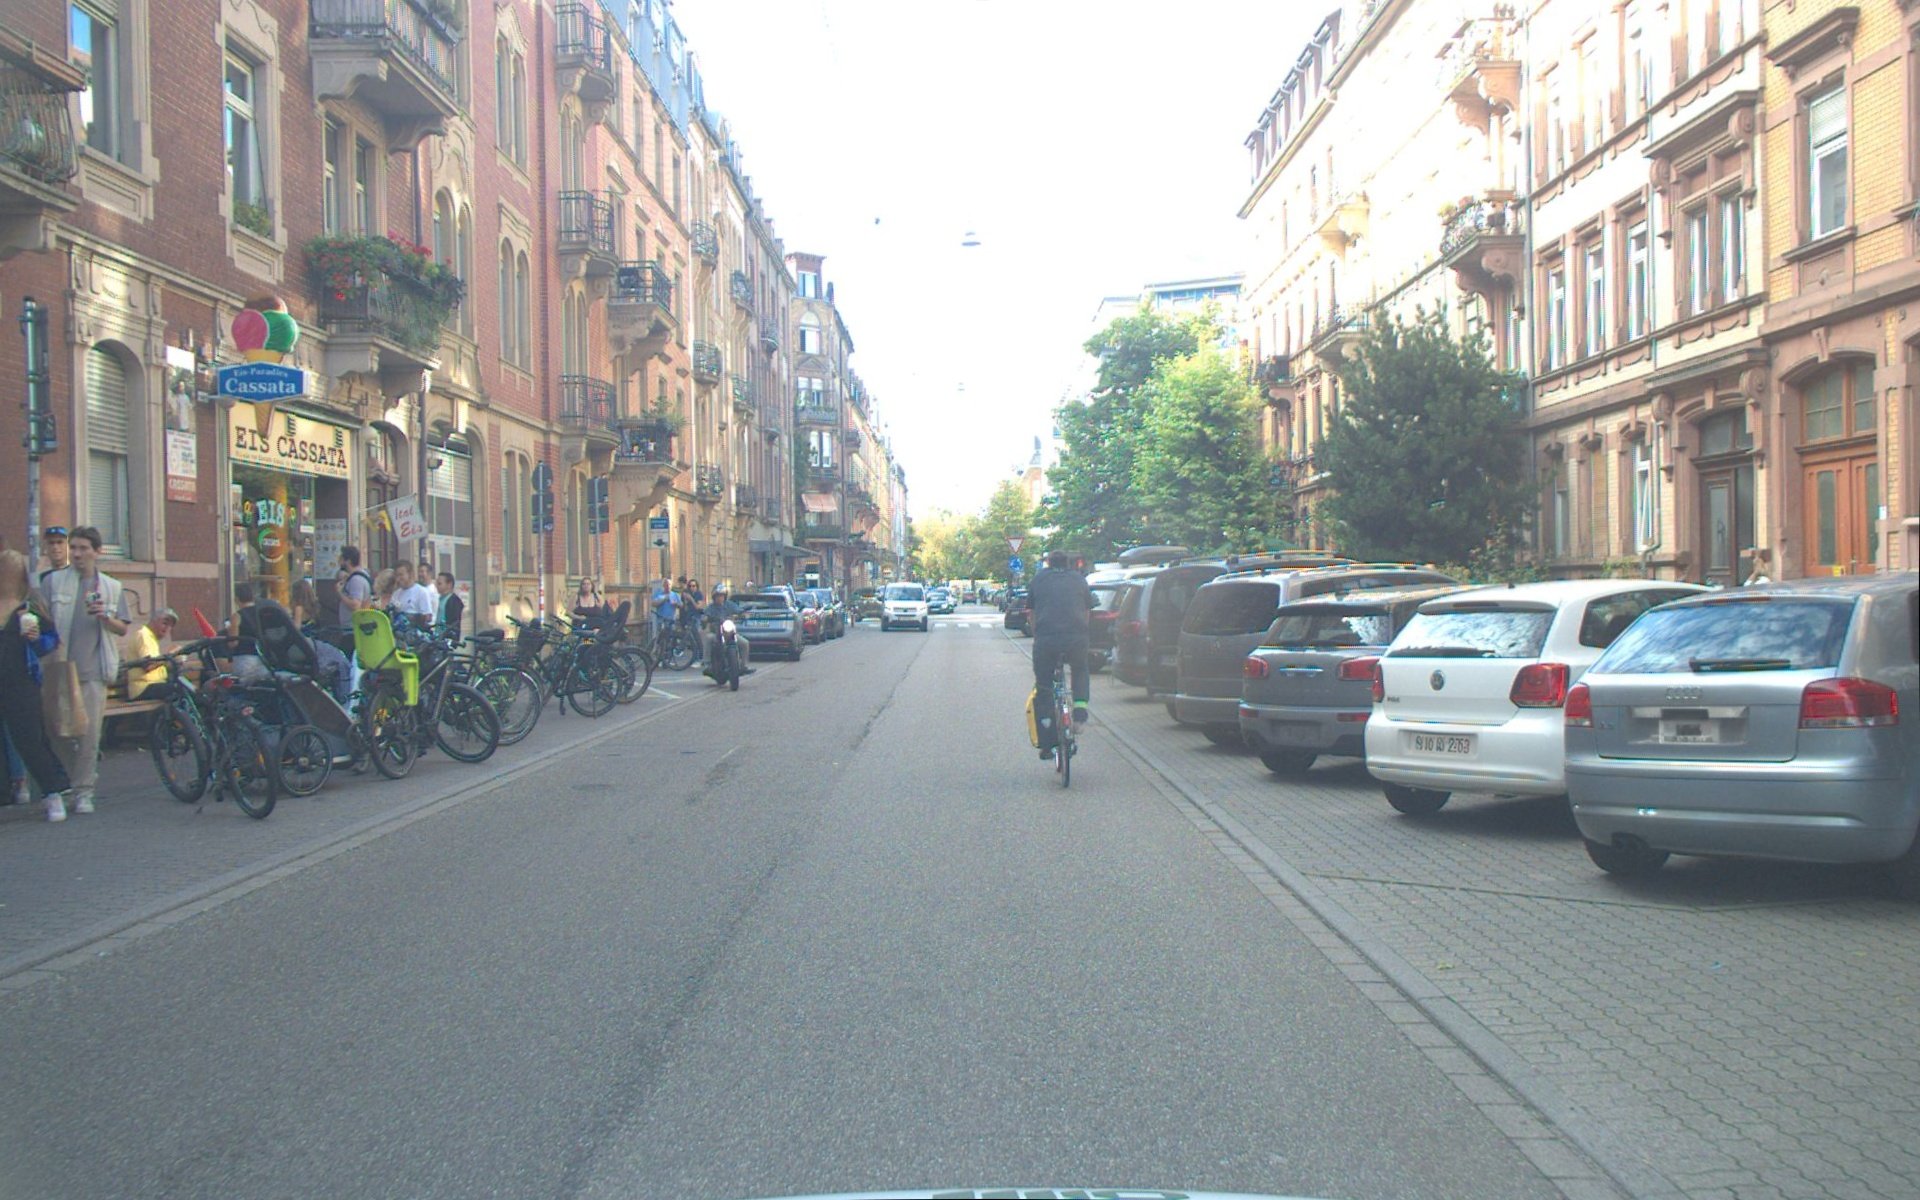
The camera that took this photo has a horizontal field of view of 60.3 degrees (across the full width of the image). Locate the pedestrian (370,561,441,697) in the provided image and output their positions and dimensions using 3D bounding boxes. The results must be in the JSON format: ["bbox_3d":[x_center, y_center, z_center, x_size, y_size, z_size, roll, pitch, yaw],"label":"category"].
[{"bbox_3d":[-7.189,0.370,21.465,0.650,1.725,0.763,0,0,0],"label":"pedestrian"}]

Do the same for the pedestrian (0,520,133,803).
[{"bbox_3d":[-6.298,0.414,11.637,0.634,1.925,0.600,0,0,30],"label":"pedestrian"}]

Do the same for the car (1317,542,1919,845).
[{"bbox_3d":[4.420,0.505,10.853,3.951,1.475,1.717,-4,0,-33],"label":"car"}]

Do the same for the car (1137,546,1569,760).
[{"bbox_3d":[3.868,0.433,16.151,3.948,1.771,1.820,-3,1,-31],"label":"car"}]

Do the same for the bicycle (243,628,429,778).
[{"bbox_3d":[-5.113,0.811,13.664,0.566,1.109,1.739,0,0,13],"label":"bicycle"}]

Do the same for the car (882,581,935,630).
[{"bbox_3d":[-1.980,0.194,64.719,1.878,1.860,4.438,0,0,0],"label":"car"}]

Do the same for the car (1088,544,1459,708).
[{"bbox_3d":[4.125,0.302,22.243,4.543,1.815,1.810,-4,2,-1],"label":"car"}]

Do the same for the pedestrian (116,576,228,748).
[{"bbox_3d":[-7.074,0.540,14.867,0.591,1.495,0.726,0,0,10],"label":"pedestrian"}]

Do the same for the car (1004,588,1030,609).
[{"bbox_3d":[3.860,-0.104,112.618,1.611,1.347,3.577,-4,0,1],"label":"car"}]

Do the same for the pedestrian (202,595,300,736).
[{"bbox_3d":[-6.872,0.624,16.058,0.708,1.336,0.606,0,0,-4],"label":"pedestrian"}]

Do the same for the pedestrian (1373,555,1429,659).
[{"bbox_3d":[7.448,0.120,27.927,0.643,1.724,0.688,0,0,-43],"label":"pedestrian"}]

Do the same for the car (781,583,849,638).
[{"bbox_3d":[-4.676,0.331,53.894,1.754,1.657,4.847,-1,0,0],"label":"car"}]

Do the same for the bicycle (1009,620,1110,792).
[{"bbox_3d":[0.755,0.783,13.197,0.652,1.198,2.497,0,0,0],"label":"bicycle"}]

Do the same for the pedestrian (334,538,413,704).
[{"bbox_3d":[-6.840,0.238,19.293,0.753,1.886,0.659,0,0,-31],"label":"pedestrian"}]

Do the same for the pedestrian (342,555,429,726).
[{"bbox_3d":[-6.130,0.416,17.666,0.591,1.782,0.726,0,0,10],"label":"pedestrian"}]

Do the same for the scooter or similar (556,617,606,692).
[{"bbox_3d":[-5.635,0.806,24.625,0.593,1.073,0.921,1,0,-5],"label":"scooter or similar"}]

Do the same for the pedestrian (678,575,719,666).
[{"bbox_3d":[-5.069,0.385,32.078,0.559,1.739,0.659,0,0,-35],"label":"pedestrian"}]

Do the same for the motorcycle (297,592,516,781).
[{"bbox_3d":[-4.442,0.644,13.448,0.692,1.408,2.025,0,0,14],"label":"motorcycle"}]

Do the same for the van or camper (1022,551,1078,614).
[{"bbox_3d":[4.621,-0.893,85.707,2.480,3.090,4.457,-1,0,-2],"label":"van or camper"}]

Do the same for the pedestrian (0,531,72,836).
[{"bbox_3d":[-5.915,0.487,10.002,0.747,1.790,0.664,0,0,30],"label":"pedestrian"}]

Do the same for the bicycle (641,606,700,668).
[{"bbox_3d":[-5.415,0.674,30.997,0.482,1.114,1.906,1,0,9],"label":"bicycle"}]

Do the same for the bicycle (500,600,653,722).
[{"bbox_3d":[-4.408,0.677,19.078,1.658,1.345,0.521,0,0,-36],"label":"bicycle"}]

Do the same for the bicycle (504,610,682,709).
[{"bbox_3d":[-4.676,0.728,21.233,0.793,1.179,2.260,0,0,37],"label":"bicycle"}]

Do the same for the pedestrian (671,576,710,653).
[{"bbox_3d":[-6.504,0.339,39.908,0.740,1.839,0.863,0,0,3],"label":"pedestrian"}]

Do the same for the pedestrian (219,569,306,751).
[{"bbox_3d":[-6.429,0.537,15.259,0.542,1.644,0.584,0,0,0],"label":"pedestrian"}]

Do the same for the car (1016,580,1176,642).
[{"bbox_3d":[3.968,0.286,47.919,4.418,1.489,1.857,-4,2,-35],"label":"car"}]

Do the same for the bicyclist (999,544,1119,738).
[{"bbox_3d":[0.778,0.316,13.242,0.914,1.510,0.747,0,0,0],"label":"bicyclist"}]

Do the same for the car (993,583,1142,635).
[{"bbox_3d":[3.674,0.271,56.340,4.700,1.482,2.038,-4,2,-28],"label":"car"}]

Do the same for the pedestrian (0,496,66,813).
[{"bbox_3d":[-6.406,0.350,10.939,0.630,2.049,0.629,0,0,28],"label":"pedestrian"}]

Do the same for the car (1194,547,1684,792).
[{"bbox_3d":[3.989,0.467,13.533,3.959,1.575,1.844,-4,1,-38],"label":"car"}]

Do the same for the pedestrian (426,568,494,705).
[{"bbox_3d":[-6.411,0.459,21.211,0.635,1.725,0.563,0,0,38],"label":"pedestrian"}]

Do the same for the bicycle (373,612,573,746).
[{"bbox_3d":[-4.683,0.732,15.963,1.771,1.221,0.583,0,0,-37],"label":"bicycle"}]

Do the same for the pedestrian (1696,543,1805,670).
[{"bbox_3d":[9.925,0.077,20.776,0.910,1.523,0.811,-2,0,-7],"label":"pedestrian"}]

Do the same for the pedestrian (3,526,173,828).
[{"bbox_3d":[-5.589,0.467,10.615,0.747,1.850,0.664,0,0,30],"label":"pedestrian"}]

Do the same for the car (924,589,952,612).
[{"bbox_3d":[-1.376,0.048,103.604,1.714,1.461,4.210,0,0,-2],"label":"car"}]

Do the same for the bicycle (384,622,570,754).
[{"bbox_3d":[-4.470,0.789,15.349,1.553,1.140,0.583,0,0,-37],"label":"bicycle"}]

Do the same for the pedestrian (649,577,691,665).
[{"bbox_3d":[-5.648,0.400,32.206,0.672,1.690,0.546,0,0,-30],"label":"pedestrian"}]

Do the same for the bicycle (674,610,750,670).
[{"bbox_3d":[-4.673,0.742,31.319,0.472,1.078,1.903,1,0,24],"label":"bicycle"}]

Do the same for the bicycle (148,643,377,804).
[{"bbox_3d":[-4.909,0.844,11.629,1.646,1.048,0.409,0,0,20],"label":"bicycle"}]

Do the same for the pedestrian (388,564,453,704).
[{"bbox_3d":[-6.761,0.413,20.728,0.657,1.725,0.580,0,0,-31],"label":"pedestrian"}]

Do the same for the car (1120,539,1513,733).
[{"bbox_3d":[4.093,0.344,18.758,4.348,1.854,1.736,-3,0,-32],"label":"car"}]

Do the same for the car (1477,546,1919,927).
[{"bbox_3d":[4.671,0.487,8.445,3.957,1.486,1.863,-3,0,-36],"label":"car"}]

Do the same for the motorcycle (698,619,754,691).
[{"bbox_3d":[-3.580,0.822,25.496,0.778,1.012,2.496,0,0,-6],"label":"motorcycle"}]

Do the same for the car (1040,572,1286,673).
[{"bbox_3d":[3.800,0.359,30.700,4.407,1.762,1.975,-1,1,-35],"label":"car"}]

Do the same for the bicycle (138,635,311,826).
[{"bbox_3d":[-4.828,0.818,10.812,1.551,1.136,0.372,0,0,39],"label":"bicycle"}]

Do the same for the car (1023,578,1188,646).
[{"bbox_3d":[4.007,0.303,45.016,4.428,1.502,1.862,-5,3,-40],"label":"car"}]

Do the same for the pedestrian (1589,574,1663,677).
[{"bbox_3d":[8.384,0.308,20.846,0.588,1.240,0.673,-3,0,0],"label":"pedestrian"}]

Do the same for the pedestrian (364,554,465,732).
[{"bbox_3d":[-5.615,0.426,17.061,0.591,1.782,0.946,0,0,12],"label":"pedestrian"}]

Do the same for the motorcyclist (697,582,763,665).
[{"bbox_3d":[-3.581,0.360,25.801,0.994,1.267,0.802,0,0,-6],"label":"motorcyclist"}]

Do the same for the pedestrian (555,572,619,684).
[{"bbox_3d":[-5.727,0.423,25.436,0.894,1.690,0.826,0,0,-8],"label":"pedestrian"}]

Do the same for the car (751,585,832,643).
[{"bbox_3d":[-4.865,0.394,48.421,1.953,1.572,4.426,-1,0,-1],"label":"car"}]

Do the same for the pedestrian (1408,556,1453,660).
[{"bbox_3d":[7.759,0.129,27.305,0.561,1.688,0.633,0,0,0],"label":"pedestrian"}]

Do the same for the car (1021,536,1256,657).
[{"bbox_3d":[3.984,-0.121,36.487,5.097,2.447,1.896,-2,0,-34],"label":"car"}]

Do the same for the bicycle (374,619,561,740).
[{"bbox_3d":[-4.912,0.765,16.550,1.719,1.140,0.548,0,0,-37],"label":"bicycle"}]

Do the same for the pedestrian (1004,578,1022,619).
[{"bbox_3d":[2.327,-0.053,72.415,0.615,1.769,0.776,-1,0,12],"label":"pedestrian"}]

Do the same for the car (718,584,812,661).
[{"bbox_3d":[-4.285,0.452,37.030,1.789,1.606,5.260,0,0,-4],"label":"car"}]
